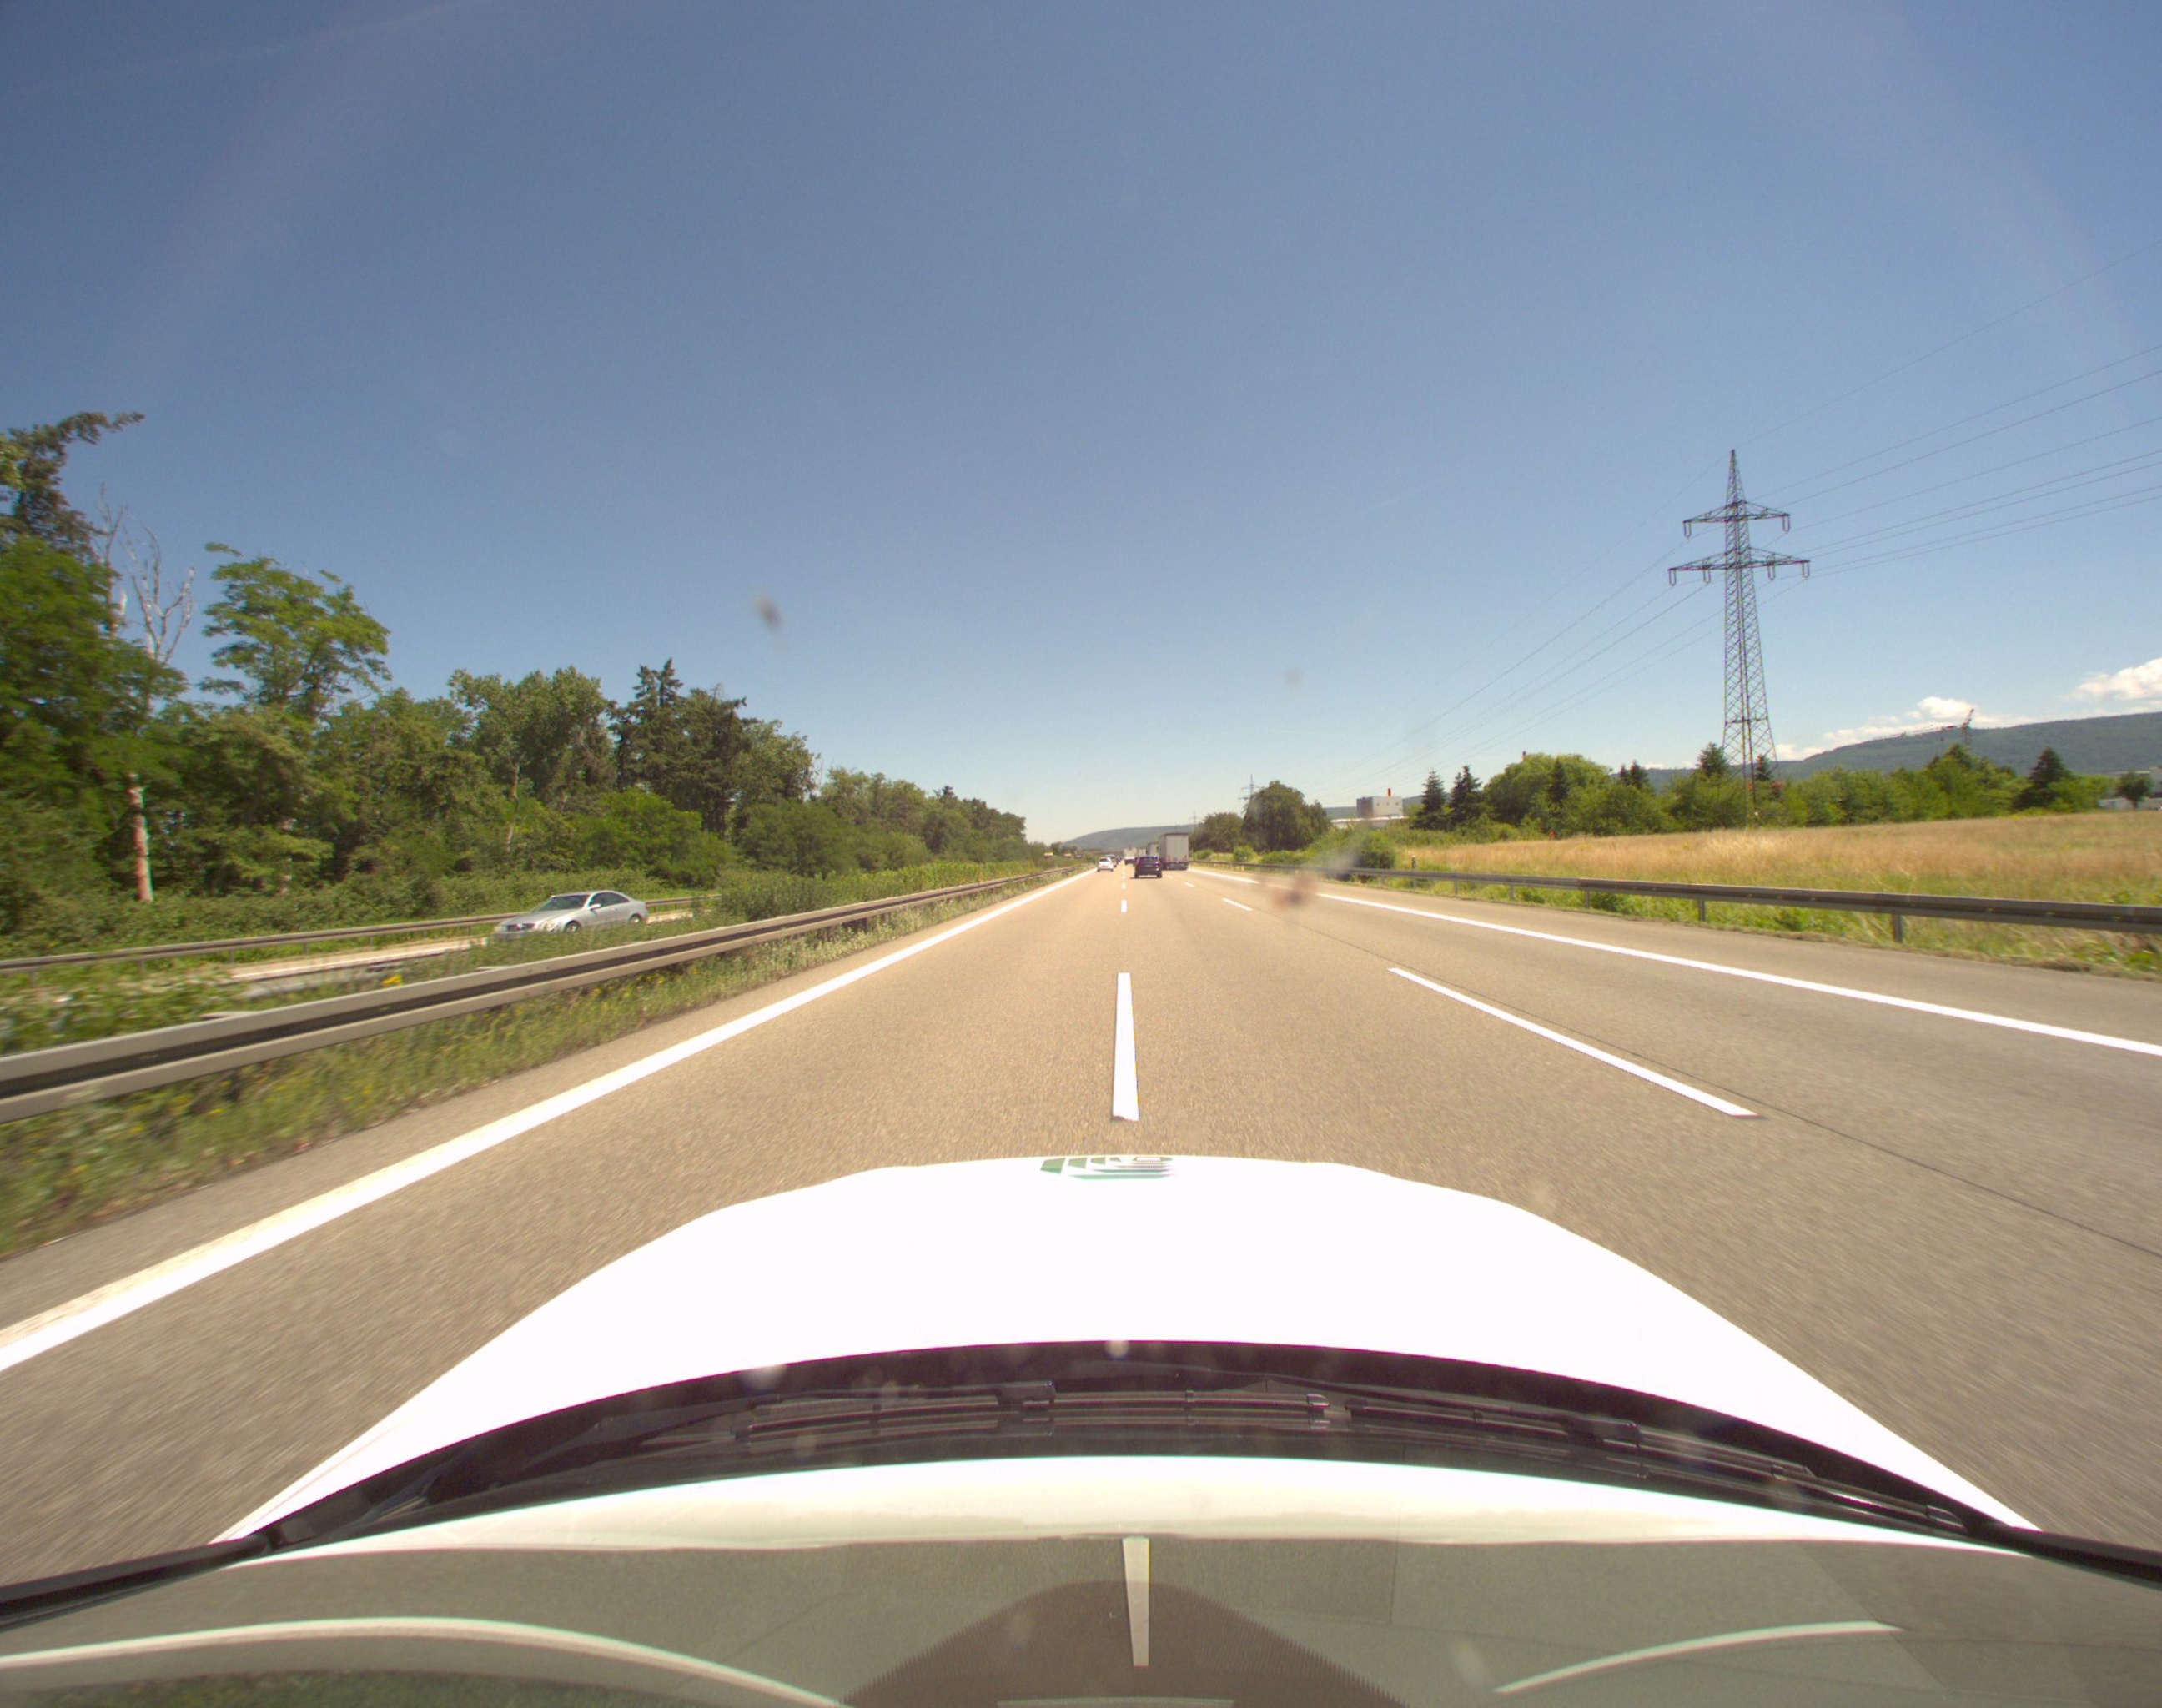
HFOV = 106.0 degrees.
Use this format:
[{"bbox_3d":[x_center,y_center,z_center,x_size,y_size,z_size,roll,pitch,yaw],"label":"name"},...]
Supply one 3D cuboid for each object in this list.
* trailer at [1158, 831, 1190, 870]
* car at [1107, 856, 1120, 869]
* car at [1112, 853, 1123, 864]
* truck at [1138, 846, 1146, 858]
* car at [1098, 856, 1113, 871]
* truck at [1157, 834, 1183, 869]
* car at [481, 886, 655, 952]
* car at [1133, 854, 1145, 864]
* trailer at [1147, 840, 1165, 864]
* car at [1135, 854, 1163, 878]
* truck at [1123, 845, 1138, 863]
[{"bbox_3d":[10.568,-0.319,93.418,2.724,4.106,13.132,-1,0,3],"label":"trailer"},{"bbox_3d":[4.875,1.223,121.901,1.754,1.850,4.002,-3,0,2],"label":"car"},{"bbox_3d":[7.550,0.910,168.686,1.986,2.013,4.002,-3,0,2],"label":"car"},{"bbox_3d":[18.398,-0.554,245.235,2.212,3.209,10.392,-3,0,3],"label":"truck"},{"bbox_3d":[2.688,1.022,88.822,1.601,1.467,4.002,-3,0,2],"label":"car"},{"bbox_3d":[10.960,-0.286,100.551,2.725,4.120,6.129,-1,-1,3],"label":"truck"},{"bbox_3d":[-13.771,1.692,22.209,1.846,1.379,4.312,-3,0,2],"label":"car"},{"bbox_3d":[9.011,0.768,127.188,1.796,1.545,4.003,-1,-1,3],"label":"car"},{"bbox_3d":[14.258,-0.350,155.669,2.777,4.164,13.586,-3,-1,4],"label":"trailer"},{"bbox_3d":[4.852,0.863,58.527,1.866,1.623,4.007,-1,0,3],"label":"car"},{"bbox_3d":[9.874,0.080,162.987,2.771,3.373,8.133,-1,-1,3],"label":"truck"}]
